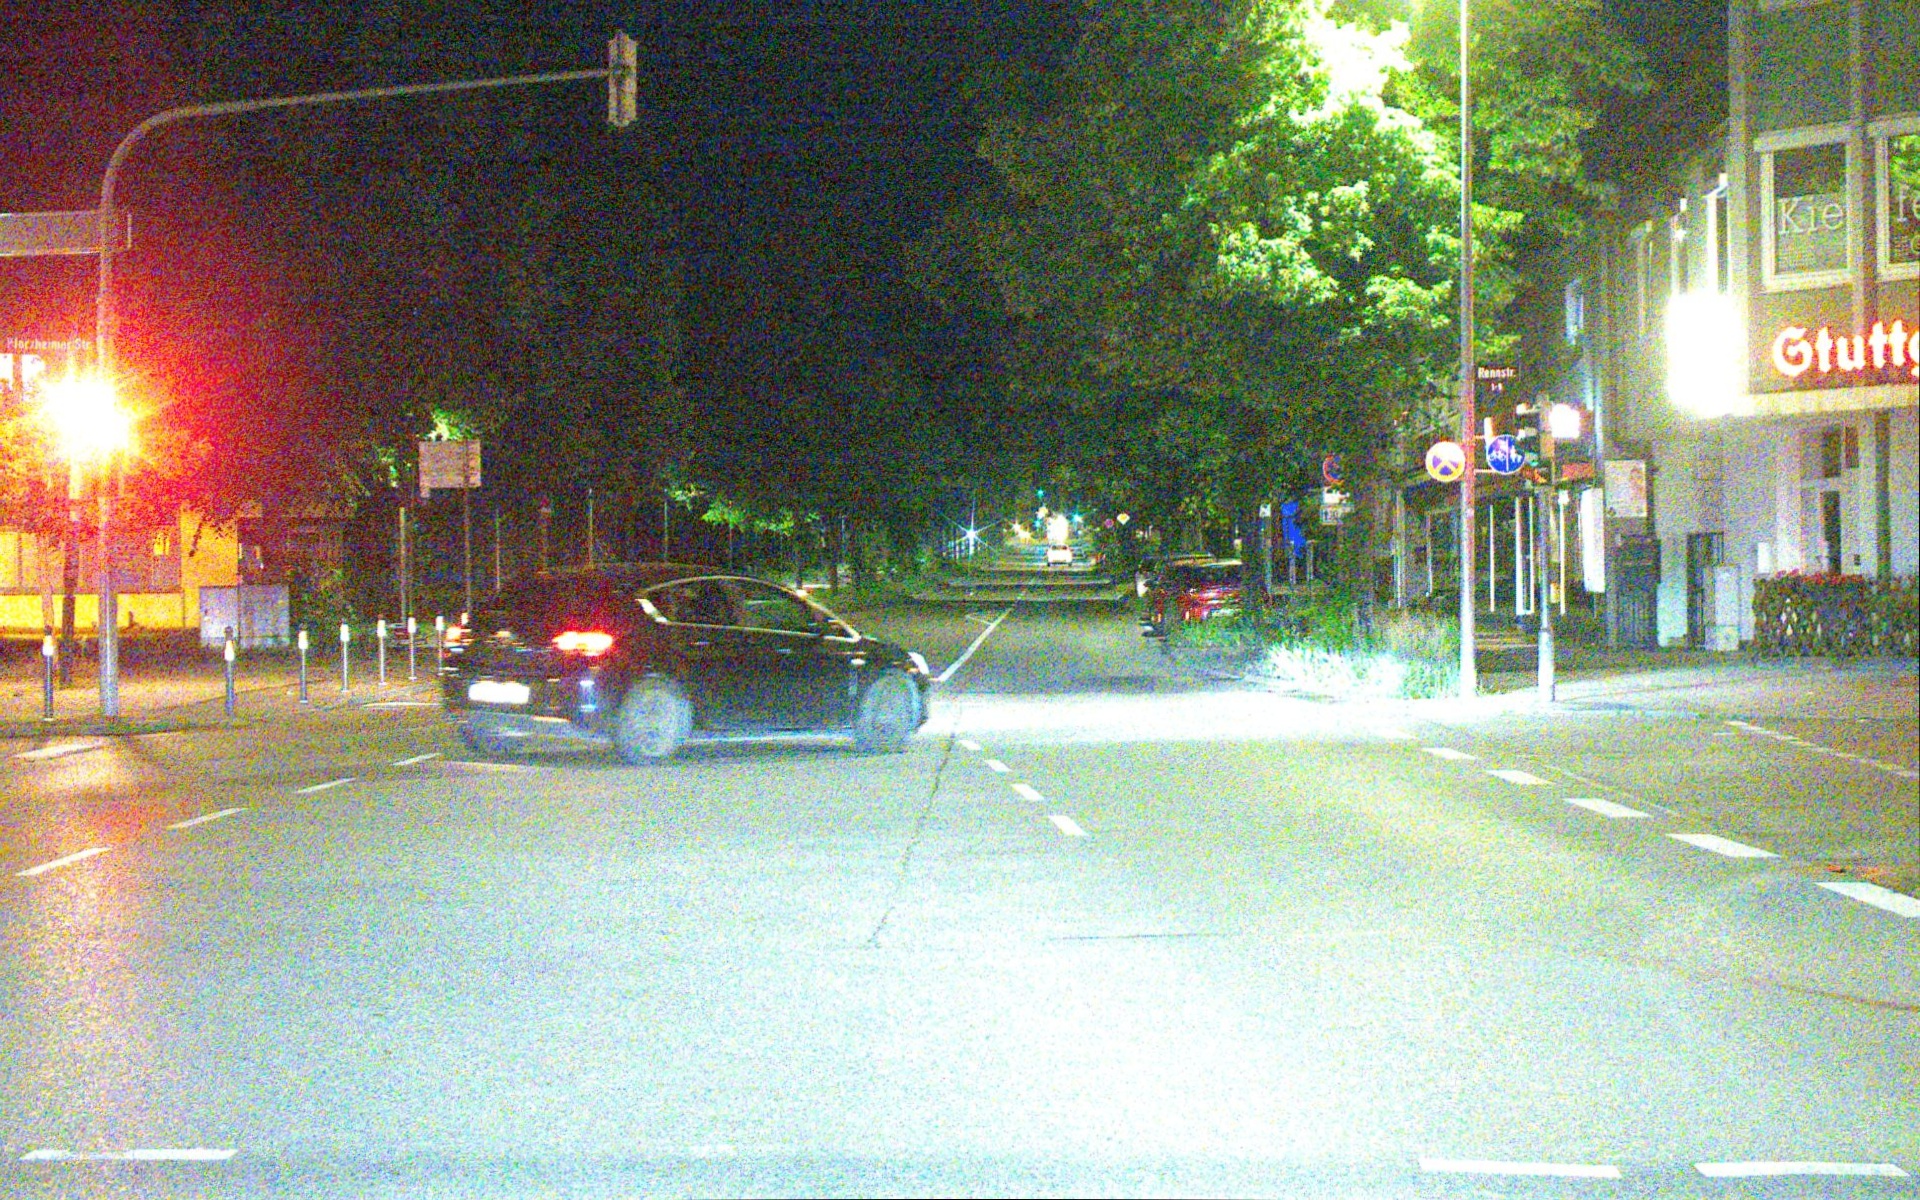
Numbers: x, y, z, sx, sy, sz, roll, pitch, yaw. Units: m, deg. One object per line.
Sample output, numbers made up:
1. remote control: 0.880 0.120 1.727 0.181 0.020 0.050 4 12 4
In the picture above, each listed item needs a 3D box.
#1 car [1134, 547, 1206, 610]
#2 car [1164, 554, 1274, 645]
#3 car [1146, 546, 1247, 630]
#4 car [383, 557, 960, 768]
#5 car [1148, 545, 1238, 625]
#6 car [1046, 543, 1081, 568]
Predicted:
1. car: 5.742 -0.610 94.528 1.876 1.678 4.000 0 1 2
2. car: 4.753 -0.036 63.480 1.876 1.610 4.000 0 1 2
3. car: 4.705 -0.259 68.802 1.876 1.610 4.000 0 1 2
4. car: -2.112 0.432 26.210 1.878 1.449 4.306 1 1 40
5. car: 5.164 -0.340 76.473 1.876 1.723 4.000 0 1 2
6. car: 6.727 -2.890 223.742 2.227 1.645 4.000 0 1 0
